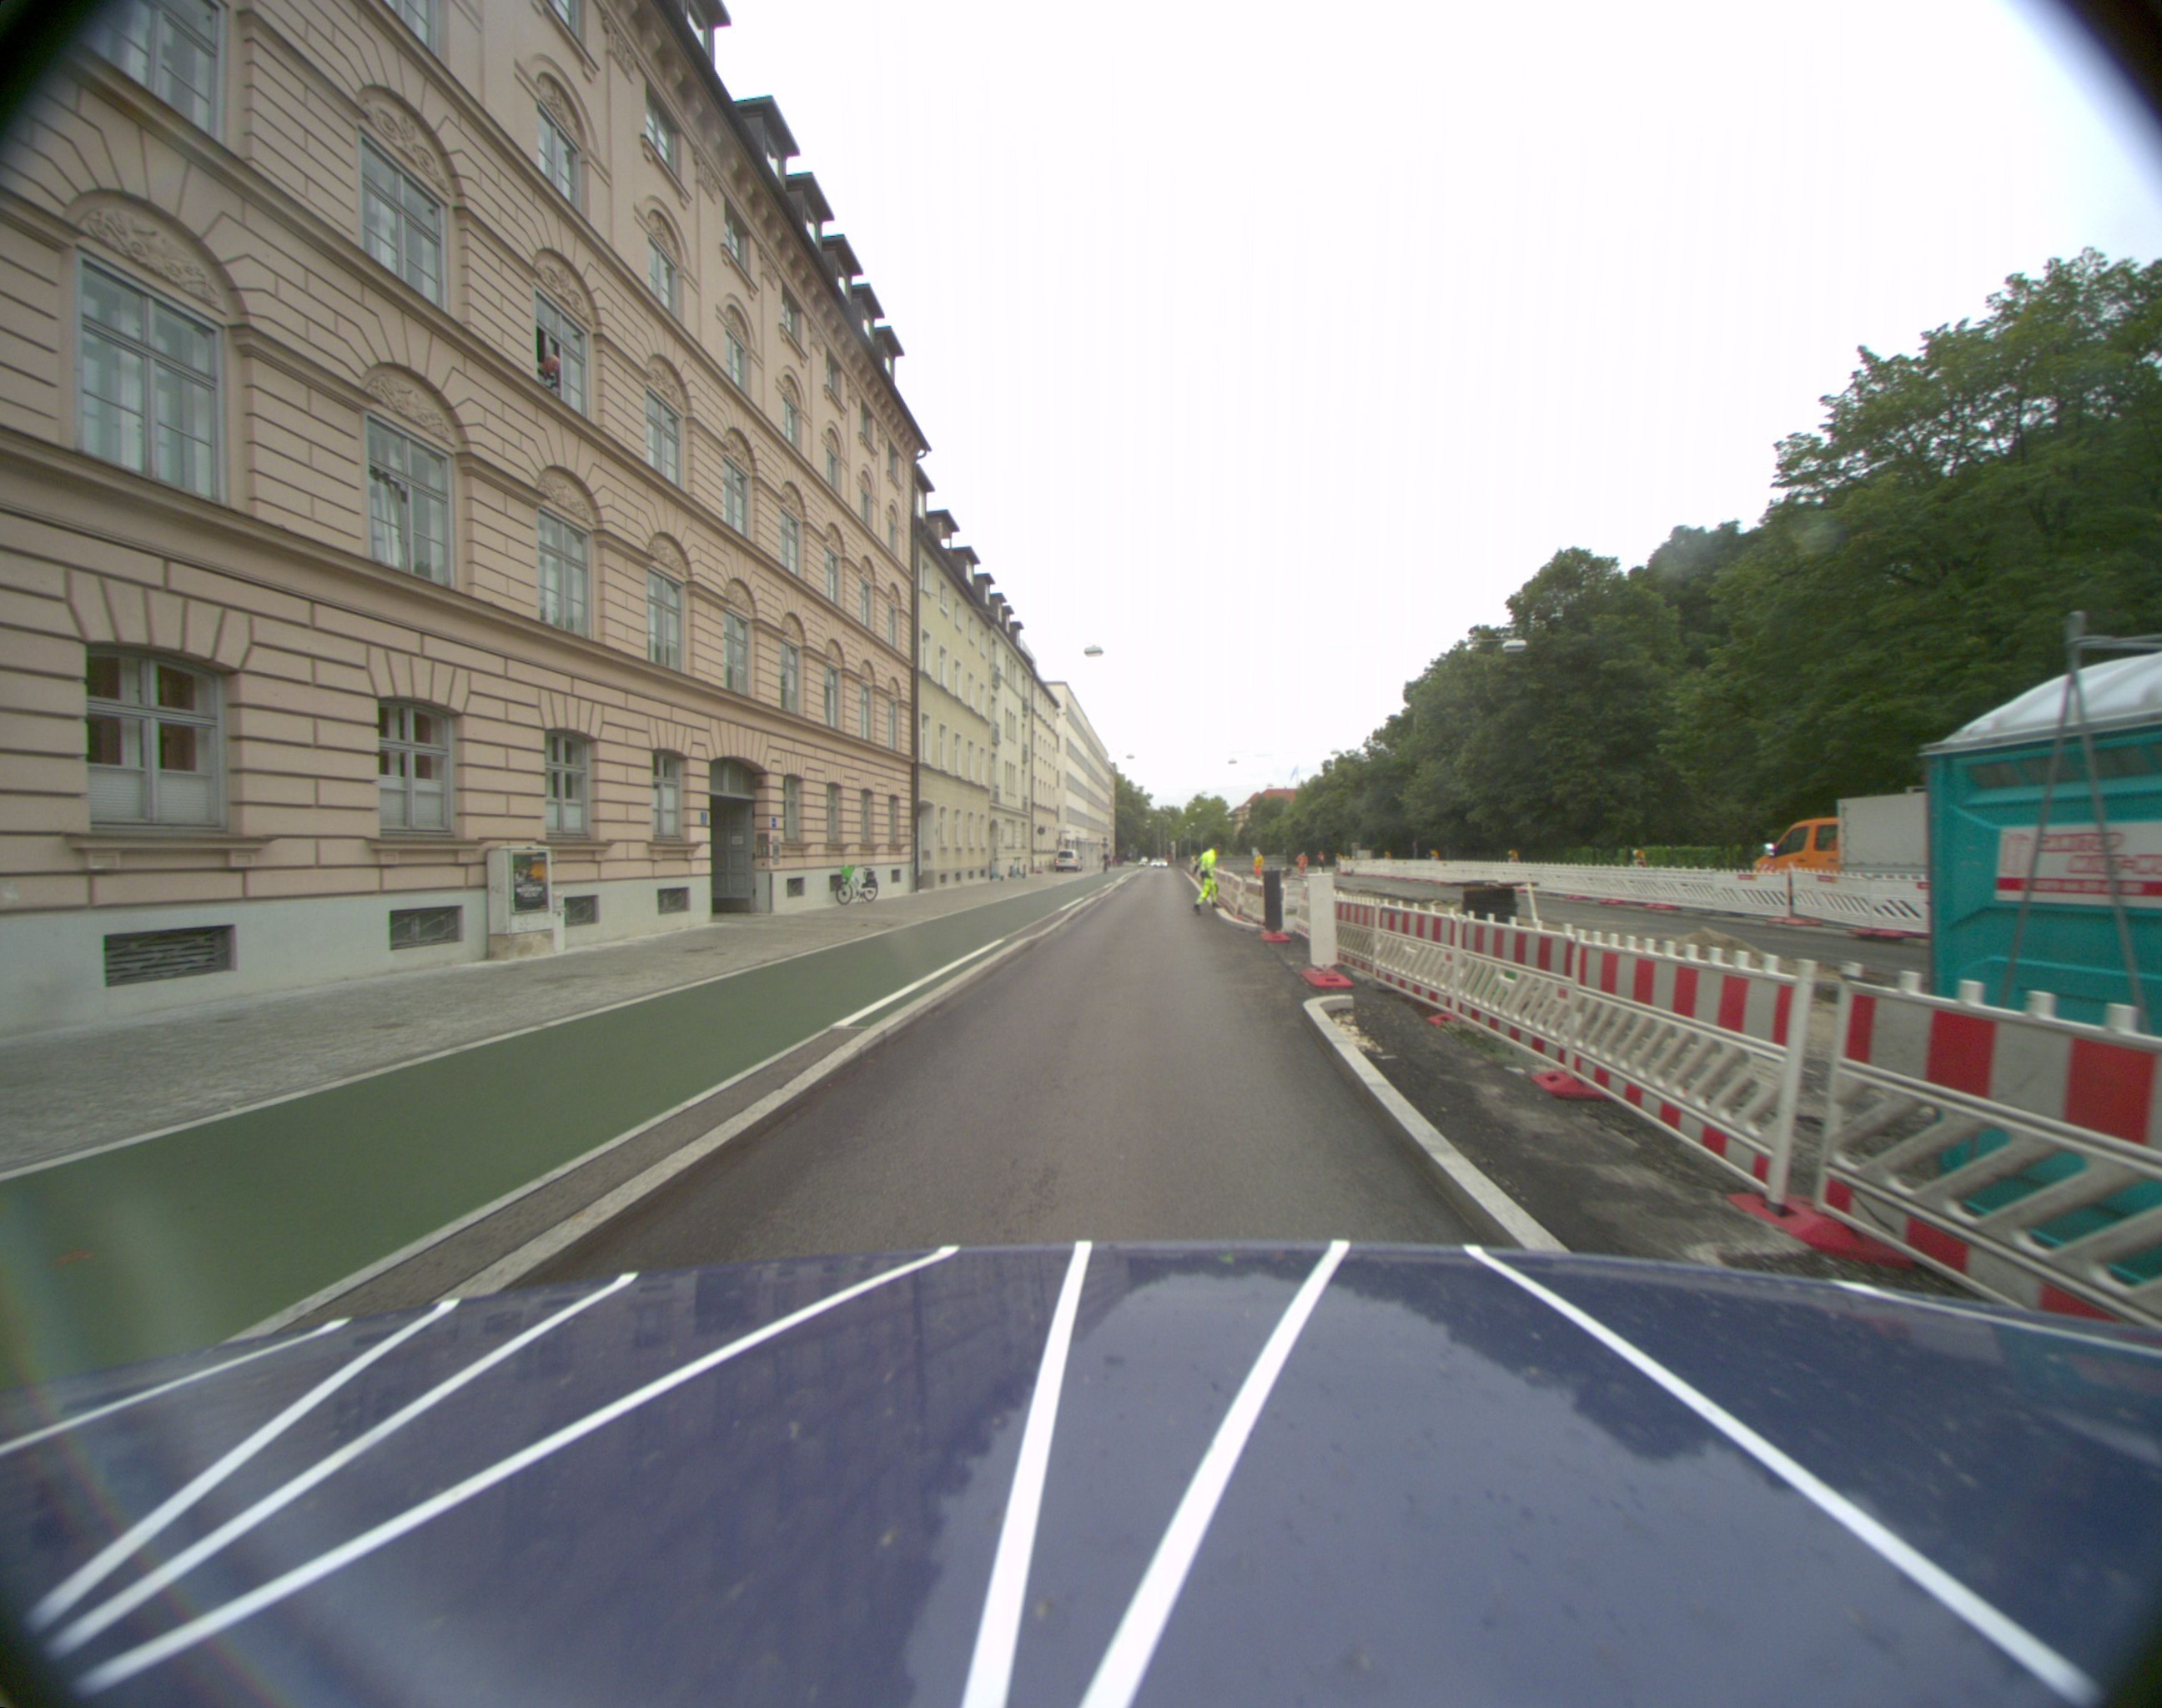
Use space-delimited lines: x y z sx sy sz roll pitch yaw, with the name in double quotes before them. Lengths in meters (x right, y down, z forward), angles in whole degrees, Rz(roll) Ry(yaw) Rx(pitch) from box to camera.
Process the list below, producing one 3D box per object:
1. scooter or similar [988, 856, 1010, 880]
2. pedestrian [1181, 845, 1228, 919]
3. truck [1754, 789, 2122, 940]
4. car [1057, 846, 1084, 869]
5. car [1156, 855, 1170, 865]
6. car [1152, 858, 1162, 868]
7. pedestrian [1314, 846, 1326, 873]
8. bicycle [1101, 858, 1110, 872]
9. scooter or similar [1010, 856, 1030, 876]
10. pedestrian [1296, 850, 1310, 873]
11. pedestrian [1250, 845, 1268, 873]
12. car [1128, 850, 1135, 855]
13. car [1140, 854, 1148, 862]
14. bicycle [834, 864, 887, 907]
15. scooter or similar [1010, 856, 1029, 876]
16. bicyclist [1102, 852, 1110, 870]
"scooter or similar" -4.383 0.735 40.621 0.552 1.238 1.079 1 1 41
"pedestrian" 3.105 0.710 19.188 0.992 1.791 0.815 -1 -2 -2
"truck" 18.877 0.170 17.429 2.126 2.833 6.215 0 1 9
"car" -0.830 0.258 62.806 1.765 1.821 4.001 0 1 6
"car" 13.239 1.008 122.939 1.758 1.461 4.000 -1 0 1
"car" 16.105 1.878 161.716 1.997 2.002 4.001 -2 1 7
"pedestrian" 17.349 0.374 55.118 0.666 1.959 0.807 1 1 32
"bicycle" 1.942 0.858 60.855 0.632 1.031 2.017 0 1 0
"scooter or similar" -3.641 0.730 45.410 1.078 1.185 0.453 0 1 -23
"pedestrian" 16.311 0.534 55.890 0.899 1.678 0.912 0 1 9
"pedestrian" 11.674 0.334 49.818 0.877 1.826 0.858 -1 1 -45
"car" 15.445 -0.580 230.315 1.997 1.560 4.001 0 0 6
"car" 16.326 1.043 197.220 1.998 2.002 4.001 -2 1 4
"bicycle" -6.420 0.904 22.234 0.556 1.170 1.728 1 1 21
"scooter or similar" -3.761 0.734 46.767 1.079 1.185 0.436 0 1 -33
"bicyclist" 2.013 0.563 60.867 0.632 1.459 0.653 0 1 0
